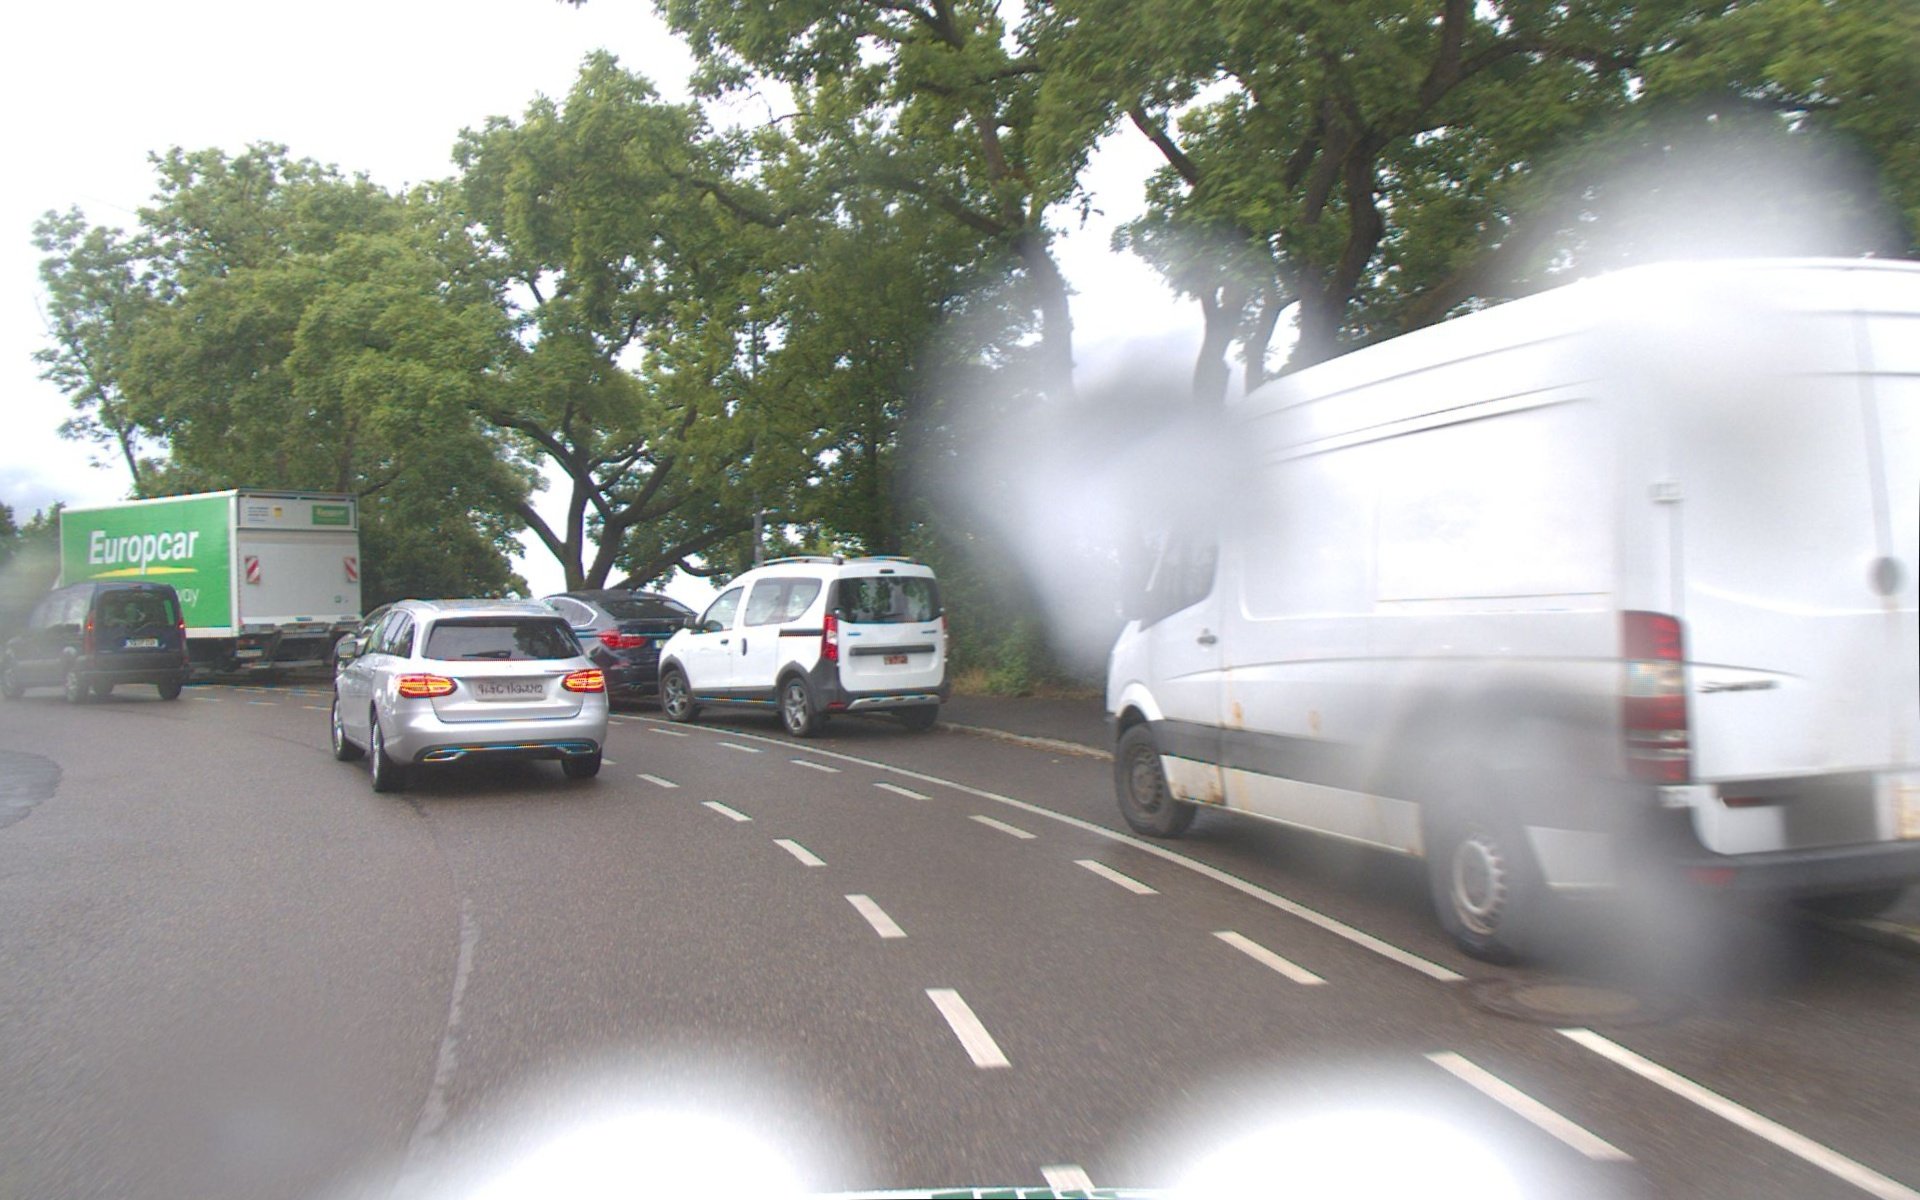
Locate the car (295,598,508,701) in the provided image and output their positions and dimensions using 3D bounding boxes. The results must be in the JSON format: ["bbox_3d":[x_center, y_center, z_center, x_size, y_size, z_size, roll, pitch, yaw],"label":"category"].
[{"bbox_3d":[-9.430,0.793,27.793,4.066,1.529,1.727,-1,2,45],"label":"car"}]

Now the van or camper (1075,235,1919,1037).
[{"bbox_3d":[2.562,0.035,8.520,2.033,2.625,5.863,-3,1,-15],"label":"van or camper"}]

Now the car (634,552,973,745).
[{"bbox_3d":[-1.884,0.476,18.613,1.734,1.852,4.364,-3,2,-37],"label":"car"}]

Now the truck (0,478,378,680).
[{"bbox_3d":[-15.399,-0.342,32.482,8.747,3.531,2.774,-1,1,34],"label":"truck"}]

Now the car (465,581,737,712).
[{"bbox_3d":[-5.146,0.592,23.207,1.847,1.569,4.830,-3,2,-37],"label":"car"}]

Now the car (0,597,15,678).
[{"bbox_3d":[-23.600,0.861,36.971,4.272,1.801,1.867,-1,-1,17],"label":"car"}]

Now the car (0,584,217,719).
[{"bbox_3d":[-13.693,0.779,26.428,4.023,1.915,1.819,-1,2,43],"label":"car"}]

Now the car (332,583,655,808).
[{"bbox_3d":[-4.159,0.701,14.230,1.958,1.581,4.262,-1,0,-26],"label":"car"}]
